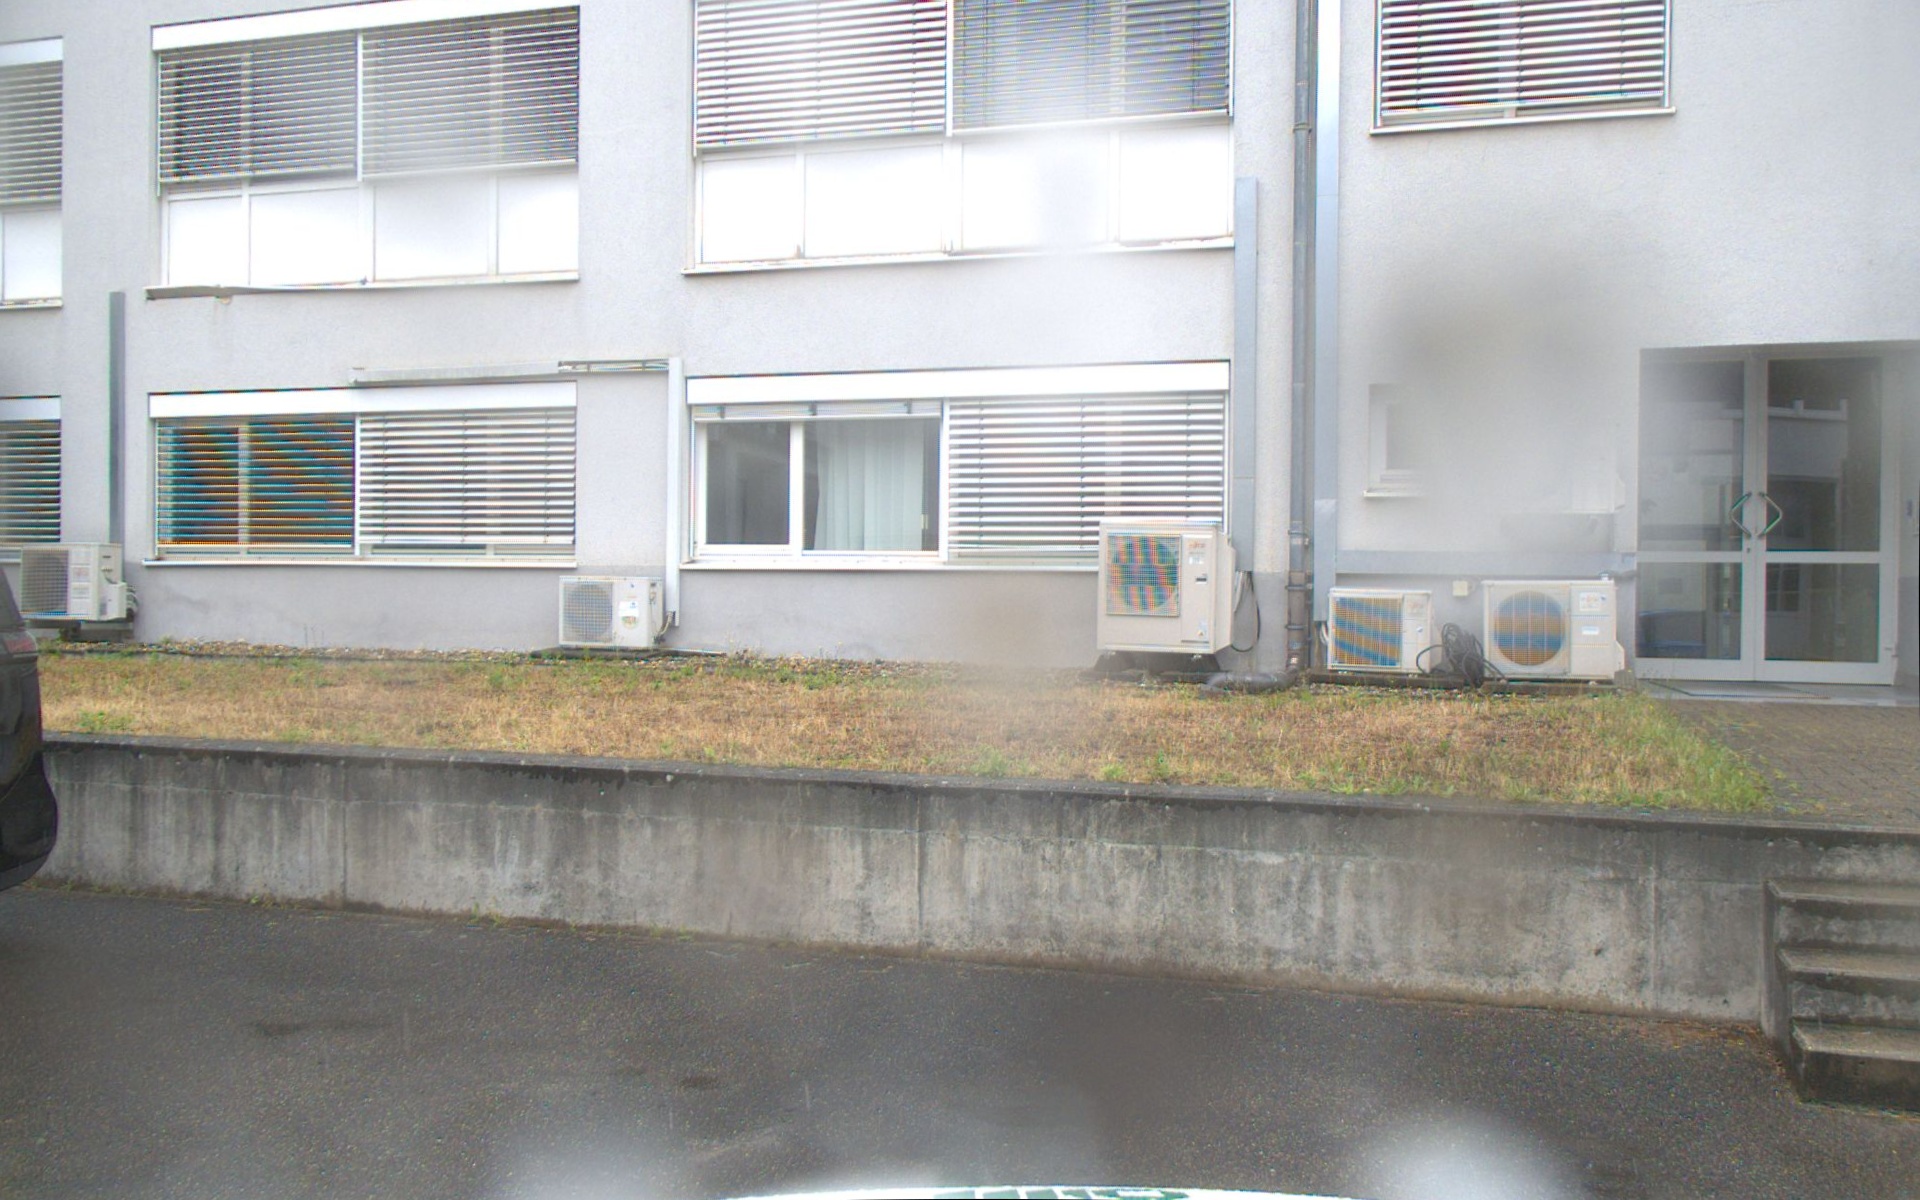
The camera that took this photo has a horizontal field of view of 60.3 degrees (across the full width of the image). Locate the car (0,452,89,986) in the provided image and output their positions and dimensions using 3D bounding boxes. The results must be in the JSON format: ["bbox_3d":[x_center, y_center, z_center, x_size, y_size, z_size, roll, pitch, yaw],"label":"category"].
[{"bbox_3d":[-4.934,0.459,4.463,1.996,1.930,4.526,0,1,16],"label":"car"}]
